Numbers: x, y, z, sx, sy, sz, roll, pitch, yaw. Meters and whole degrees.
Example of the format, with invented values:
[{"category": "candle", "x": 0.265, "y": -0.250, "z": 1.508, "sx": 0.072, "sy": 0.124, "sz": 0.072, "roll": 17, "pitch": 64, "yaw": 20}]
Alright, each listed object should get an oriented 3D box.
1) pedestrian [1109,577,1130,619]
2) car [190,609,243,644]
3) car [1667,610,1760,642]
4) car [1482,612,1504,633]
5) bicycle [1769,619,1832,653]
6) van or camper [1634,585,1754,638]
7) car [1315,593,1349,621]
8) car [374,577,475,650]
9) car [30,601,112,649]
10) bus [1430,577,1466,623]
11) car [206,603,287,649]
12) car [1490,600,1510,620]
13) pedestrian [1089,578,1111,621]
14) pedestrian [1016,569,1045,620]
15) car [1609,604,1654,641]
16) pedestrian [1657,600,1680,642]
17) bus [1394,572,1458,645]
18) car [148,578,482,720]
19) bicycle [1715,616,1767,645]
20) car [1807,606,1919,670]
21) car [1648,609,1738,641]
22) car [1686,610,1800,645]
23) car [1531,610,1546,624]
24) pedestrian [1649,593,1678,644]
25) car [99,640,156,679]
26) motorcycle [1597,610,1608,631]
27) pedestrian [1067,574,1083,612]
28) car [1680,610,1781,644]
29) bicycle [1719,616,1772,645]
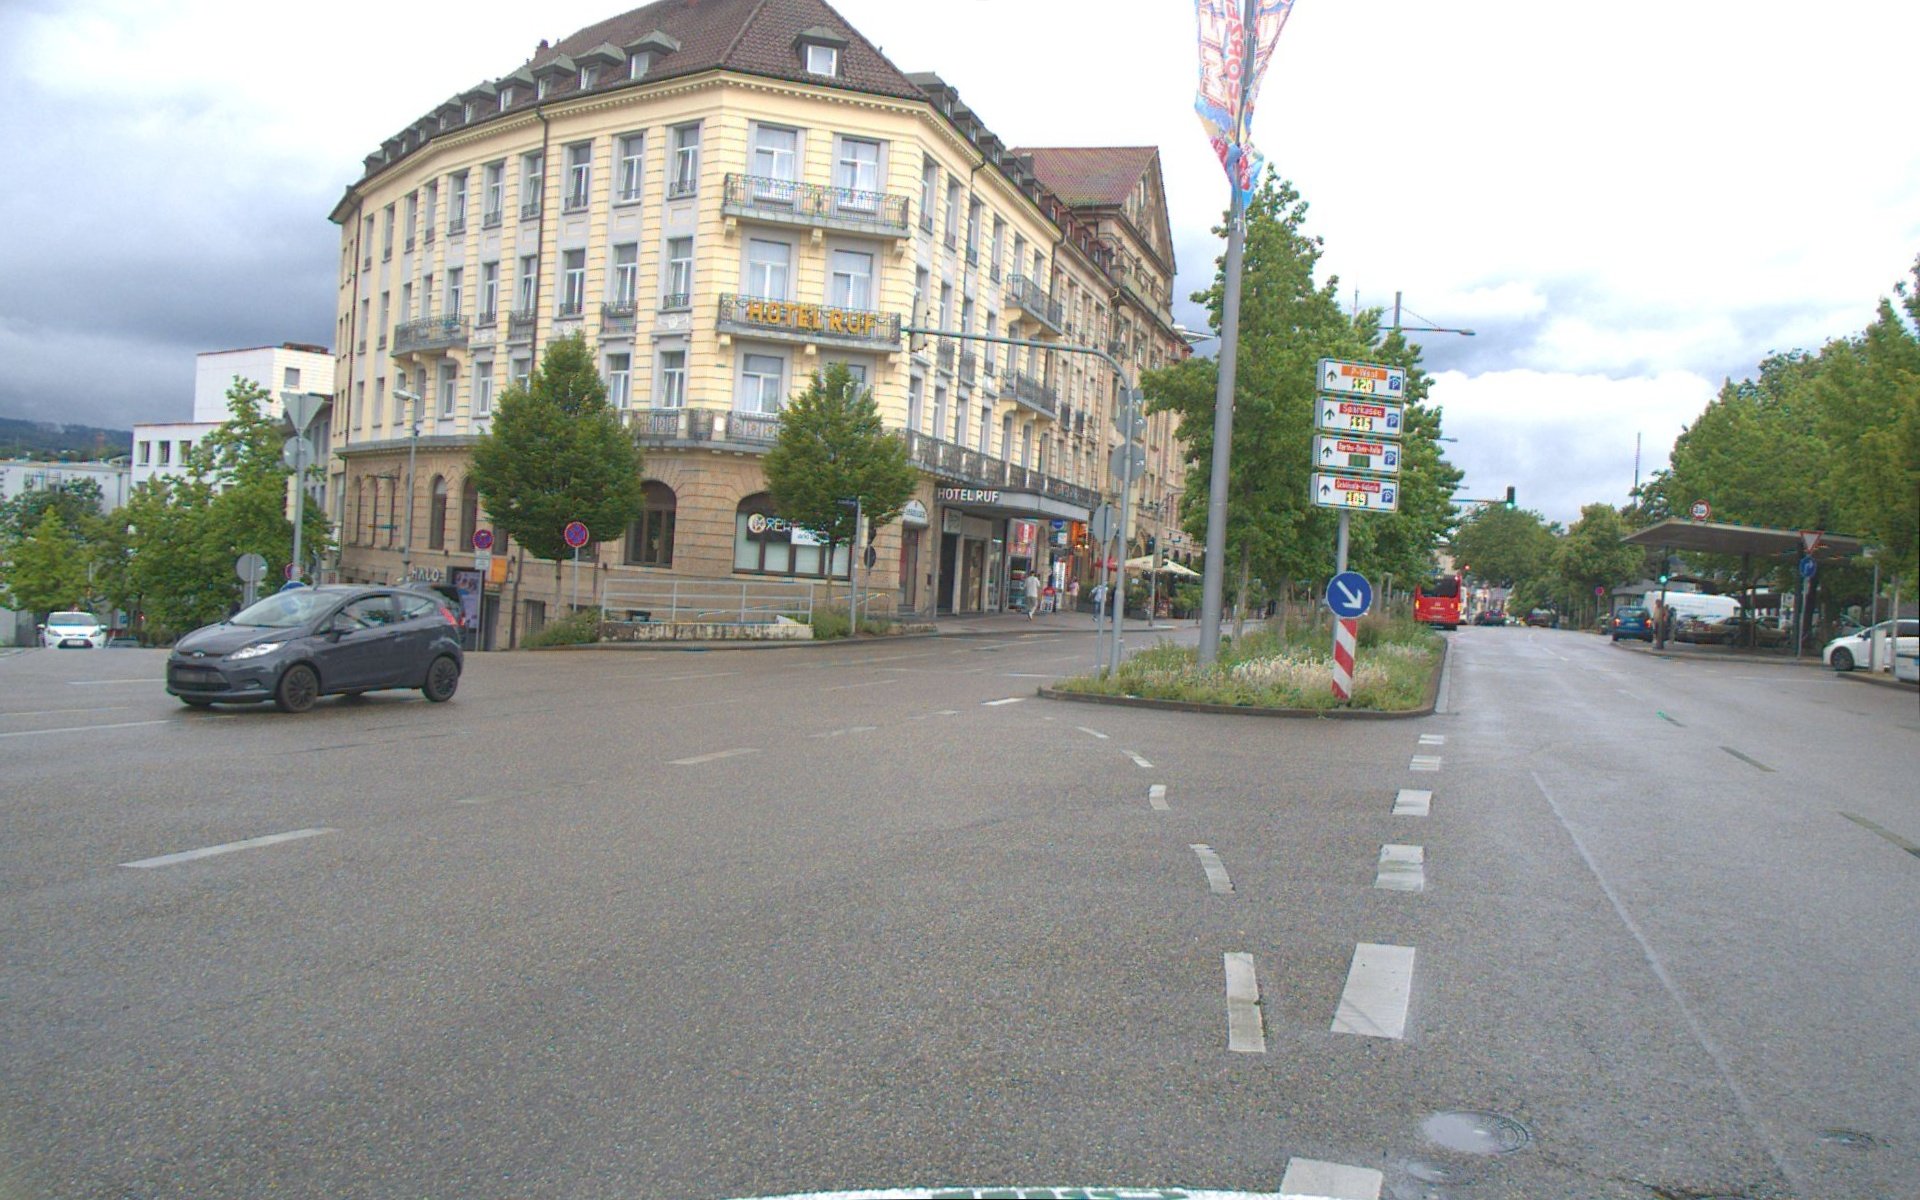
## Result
[{"category": "pedestrian", "x": 6.475, "y": -0.091, "z": 66.921, "sx": 0.667, "sy": 1.693, "sz": 0.807, "roll": 1, "pitch": 0, "yaw": 18}, {"category": "car", "x": -34.271, "y": 1.192, "z": 76.196, "sx": 1.746, "sy": 1.504, "sz": 3.958, "roll": 1, "pitch": 0, "yaw": -31}, {"category": "car", "x": 38.334, "y": 1.307, "z": 84.154, "sx": 3.913, "sy": 1.468, "sz": 1.861, "roll": 2, "pitch": 0, "yaw": -9}, {"category": "car", "x": 52.281, "y": 2.193, "z": 162.354, "sx": 1.952, "sy": 2.049, "sz": 4.002, "roll": 1, "pitch": 0, "yaw": 17}, {"category": "bicycle", "x": 27.664, "y": 1.175, "z": 54.452, "sx": 1.789, "sy": 1.074, "sz": 0.420, "roll": 1, "pitch": 0, "yaw": 17}, {"category": "van or camper", "x": 40.826, "y": 0.639, "z": 92.031, "sx": 5.837, "sy": 2.811, "sz": 2.194, "roll": 1, "pitch": 0, "yaw": -10}, {"category": "car", "x": 27.980, "y": 0.527, "z": 124.197, "sx": 1.952, "sy": 2.049, "sz": 5.002, "roll": 1, "pitch": 0, "yaw": 19}, {"category": "car", "x": -14.242, "y": 0.324, "z": 43.860, "sx": 1.614, "sy": 1.790, "sz": 3.957, "roll": 1, "pitch": 1, "yaw": -32}, {"category": "car", "x": -27.952, "y": 0.765, "z": 51.960, "sx": 1.618, "sy": 1.422, "sz": 3.946, "roll": 1, "pitch": 0, "yaw": -38}, {"category": "bus", "x": 42.802, "y": 0.048, "z": 145.234, "sx": 2.746, "sy": 3.812, "sz": 10.452, "roll": -1, "pitch": -1, "yaw": 15}, {"category": "car", "x": -25.032, "y": 0.889, "z": 57.961, "sx": 1.751, "sy": 1.504, "sz": 3.958, "roll": 1, "pitch": 0, "yaw": -37}, {"category": "car", "x": 57.692, "y": 1.088, "z": 176.764, "sx": 1.952, "sy": 2.049, "sz": 4.002, "roll": 1, "pitch": 0, "yaw": 17}, {"category": "pedestrian", "x": 5.686, "y": -0.015, "z": 67.176, "sx": 0.667, "sy": 1.693, "sz": 0.807, "roll": 1, "pitch": 0, "yaw": 20}, {"category": "pedestrian", "x": 2.539, "y": -0.198, "z": 59.575, "sx": 0.861, "sy": 1.844, "sz": 0.751, "roll": 1, "pitch": 0, "yaw": 17}, {"category": "car", "x": 31.184, "y": 1.049, "z": 76.894, "sx": 1.820, "sy": 1.596, "sz": 4.000, "roll": 2, "pitch": 0, "yaw": 21}, {"category": "pedestrian", "x": 32.618, "y": 0.971, "z": 76.162, "sx": 0.838, "sy": 1.867, "sz": 1.190, "roll": 2, "pitch": -1, "yaw": 17}, {"category": "bus", "x": 27.743, "y": 0.524, "z": 98.641, "sx": 3.470, "sy": 4.049, "sz": 11.179, "roll": 1, "pitch": 0, "yaw": 15}, {"category": "car", "x": -7.737, "y": 0.546, "z": 20.245, "sx": 1.642, "sy": 1.539, "sz": 3.864, "roll": 1, "pitch": 0, "yaw": 20}, {"category": "bicycle", "x": 29.834, "y": 1.161, "z": 63.185, "sx": 1.790, "sy": 1.074, "sz": 0.420, "roll": 1, "pitch": 0, "yaw": -1}, {"category": "car", "x": 24.713, "y": 1.008, "z": 43.091, "sx": 1.733, "sy": 1.572, "sz": 4.746, "roll": 2, "pitch": 0, "yaw": -22}, {"category": "car", "x": 38.295, "y": 1.312, "z": 86.476, "sx": 3.913, "sy": 1.468, "sz": 1.861, "roll": 2, "pitch": 0, "yaw": -9}, {"category": "car", "x": 34.333, "y": 1.202, "z": 72.605, "sx": 4.101, "sy": 1.348, "sz": 1.839, "roll": 2, "pitch": 0, "yaw": -2}, {"category": "car", "x": 71.865, "y": 2.108, "z": 205.496, "sx": 1.561, "sy": 1.588, "sz": 3.652, "roll": 1, "pitch": 0, "yaw": 17}, {"category": "pedestrian", "x": 25.344, "y": 0.665, "z": 59.564, "sx": 0.730, "sy": 1.777, "sz": 0.837, "roll": 2, "pitch": -1, "yaw": 9}, {"category": "car", "x": -37.200, "y": 2.627, "z": 73.867, "sx": 1.618, "sy": 1.576, "sz": 3.600, "roll": 1, "pitch": 0, "yaw": -38}, {"category": "motorcycle", "x": 42.430, "y": 1.350, "z": 109.252, "sx": 0.583, "sy": 1.310, "sz": 1.953, "roll": 1, "pitch": 0, "yaw": 23}, {"category": "pedestrian", "x": 5.150, "y": -0.312, "z": 73.967, "sx": 0.652, "sy": 1.693, "sz": 0.537, "roll": 1, "pitch": 0, "yaw": 9}, {"category": "car", "x": 35.433, "y": 1.229, "z": 76.104, "sx": 3.918, "sy": 1.383, "sz": 1.859, "roll": 2, "pitch": 0, "yaw": -13}, {"category": "bicycle", "x": 29.793, "y": 1.159, "z": 62.723, "sx": 1.790, "sy": 1.074, "sz": 0.420, "roll": 1, "pitch": 0, "yaw": -1}]
